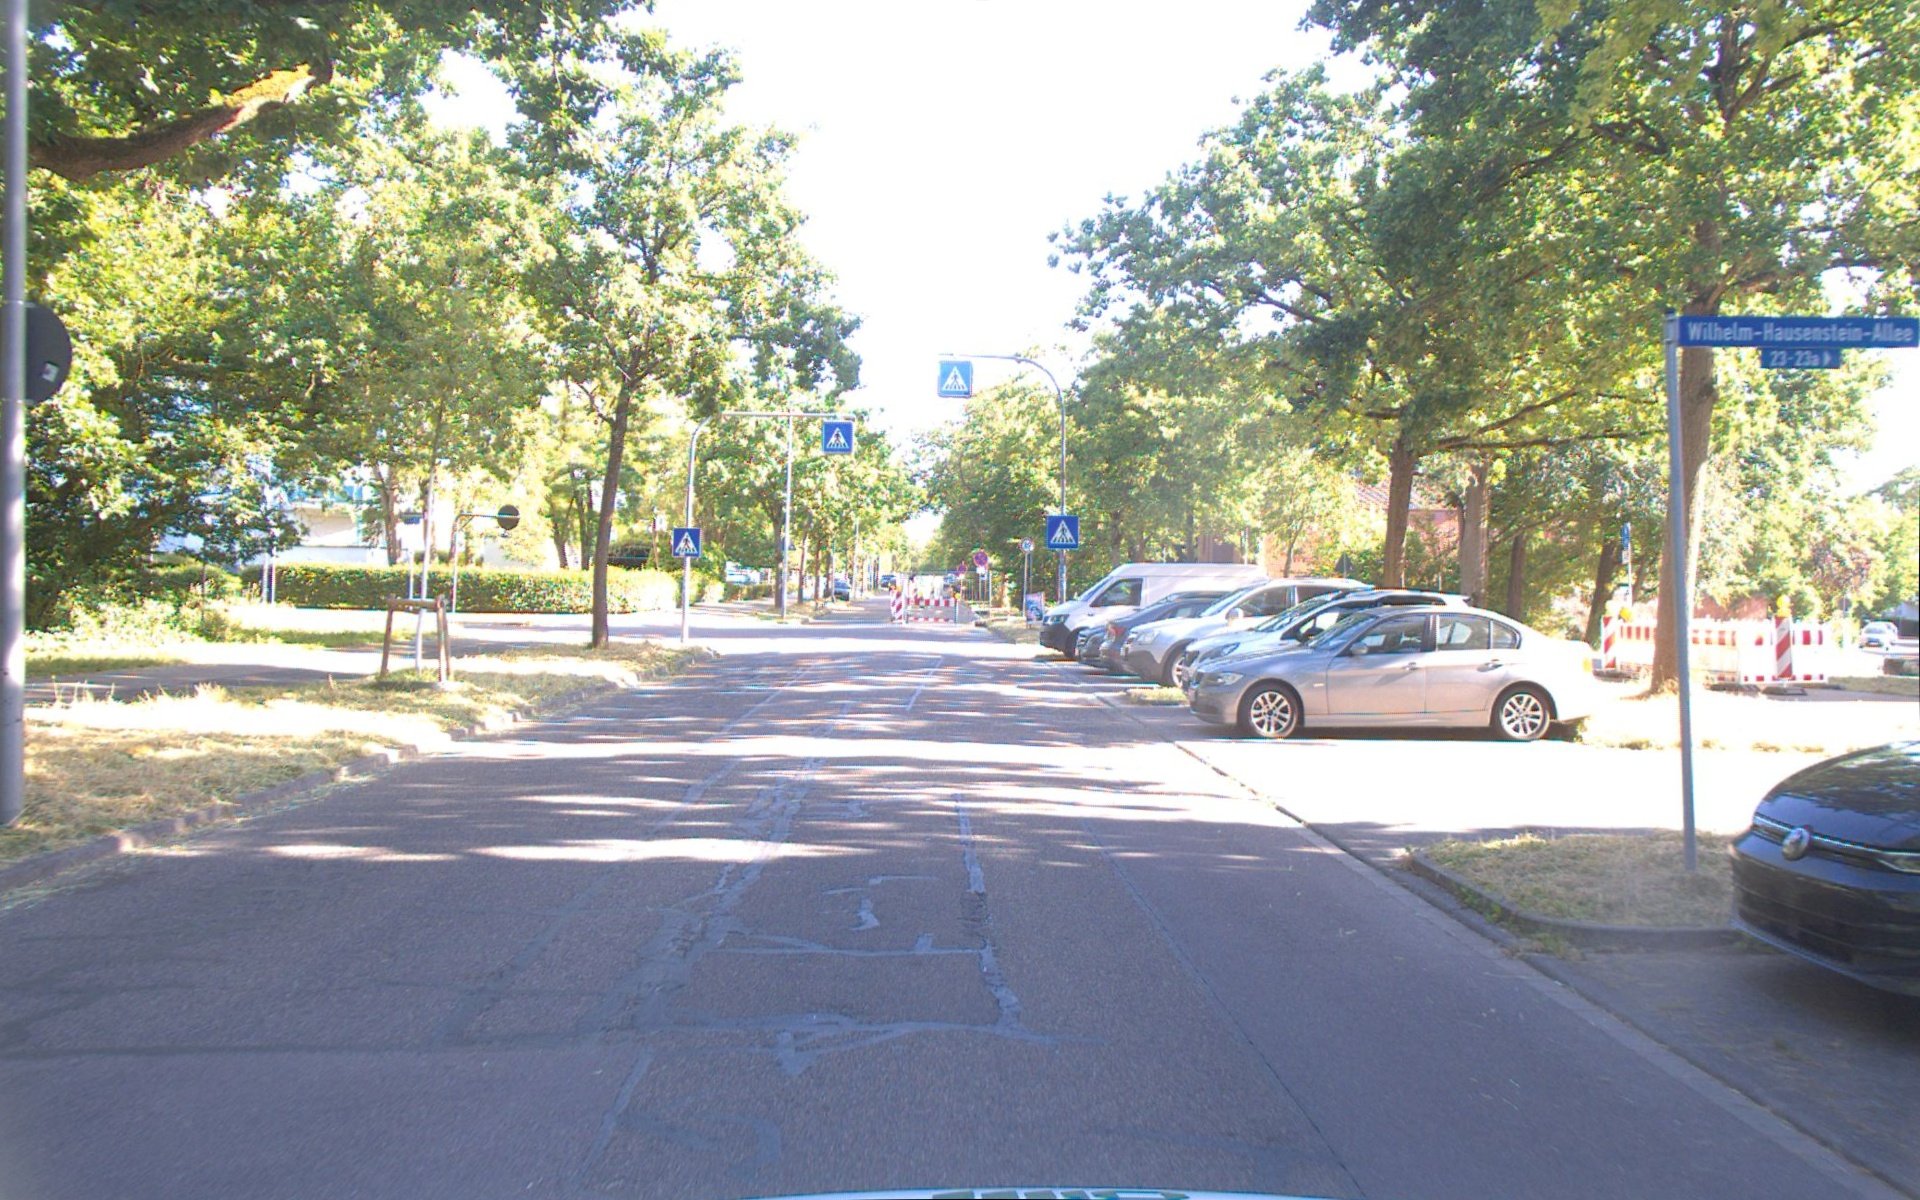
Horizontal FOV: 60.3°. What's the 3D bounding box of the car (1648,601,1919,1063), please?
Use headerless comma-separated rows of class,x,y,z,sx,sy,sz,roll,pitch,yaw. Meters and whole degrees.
car,5.350,0.749,6.426,4.577,1.481,1.916,0,0,-2

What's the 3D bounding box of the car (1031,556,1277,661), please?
car,4.204,0.184,36.344,5.083,2.142,2.081,1,0,-3

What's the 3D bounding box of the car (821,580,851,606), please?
car,-8.879,-0.481,118.912,1.953,1.746,3.999,2,0,-2

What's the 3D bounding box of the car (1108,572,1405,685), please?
car,4.594,0.421,26.043,4.297,1.680,1.850,0,0,-3

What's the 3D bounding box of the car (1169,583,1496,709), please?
car,4.729,0.559,21.360,3.806,1.523,1.776,0,0,-2

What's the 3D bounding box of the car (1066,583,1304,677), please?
car,4.177,0.544,31.179,4.129,1.596,1.932,2,0,-3

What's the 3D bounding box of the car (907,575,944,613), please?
car,-1.950,-0.334,92.000,1.953,1.966,3.999,2,0,-2

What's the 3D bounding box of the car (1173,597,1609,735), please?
car,4.689,0.702,18.439,4.355,1.414,1.910,1,0,-2

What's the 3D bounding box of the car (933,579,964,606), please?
car,-0.776,-0.530,112.988,1.953,1.746,3.999,2,0,-2

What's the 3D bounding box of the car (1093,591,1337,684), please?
car,4.335,0.621,28.571,3.905,1.458,1.901,1,0,0
